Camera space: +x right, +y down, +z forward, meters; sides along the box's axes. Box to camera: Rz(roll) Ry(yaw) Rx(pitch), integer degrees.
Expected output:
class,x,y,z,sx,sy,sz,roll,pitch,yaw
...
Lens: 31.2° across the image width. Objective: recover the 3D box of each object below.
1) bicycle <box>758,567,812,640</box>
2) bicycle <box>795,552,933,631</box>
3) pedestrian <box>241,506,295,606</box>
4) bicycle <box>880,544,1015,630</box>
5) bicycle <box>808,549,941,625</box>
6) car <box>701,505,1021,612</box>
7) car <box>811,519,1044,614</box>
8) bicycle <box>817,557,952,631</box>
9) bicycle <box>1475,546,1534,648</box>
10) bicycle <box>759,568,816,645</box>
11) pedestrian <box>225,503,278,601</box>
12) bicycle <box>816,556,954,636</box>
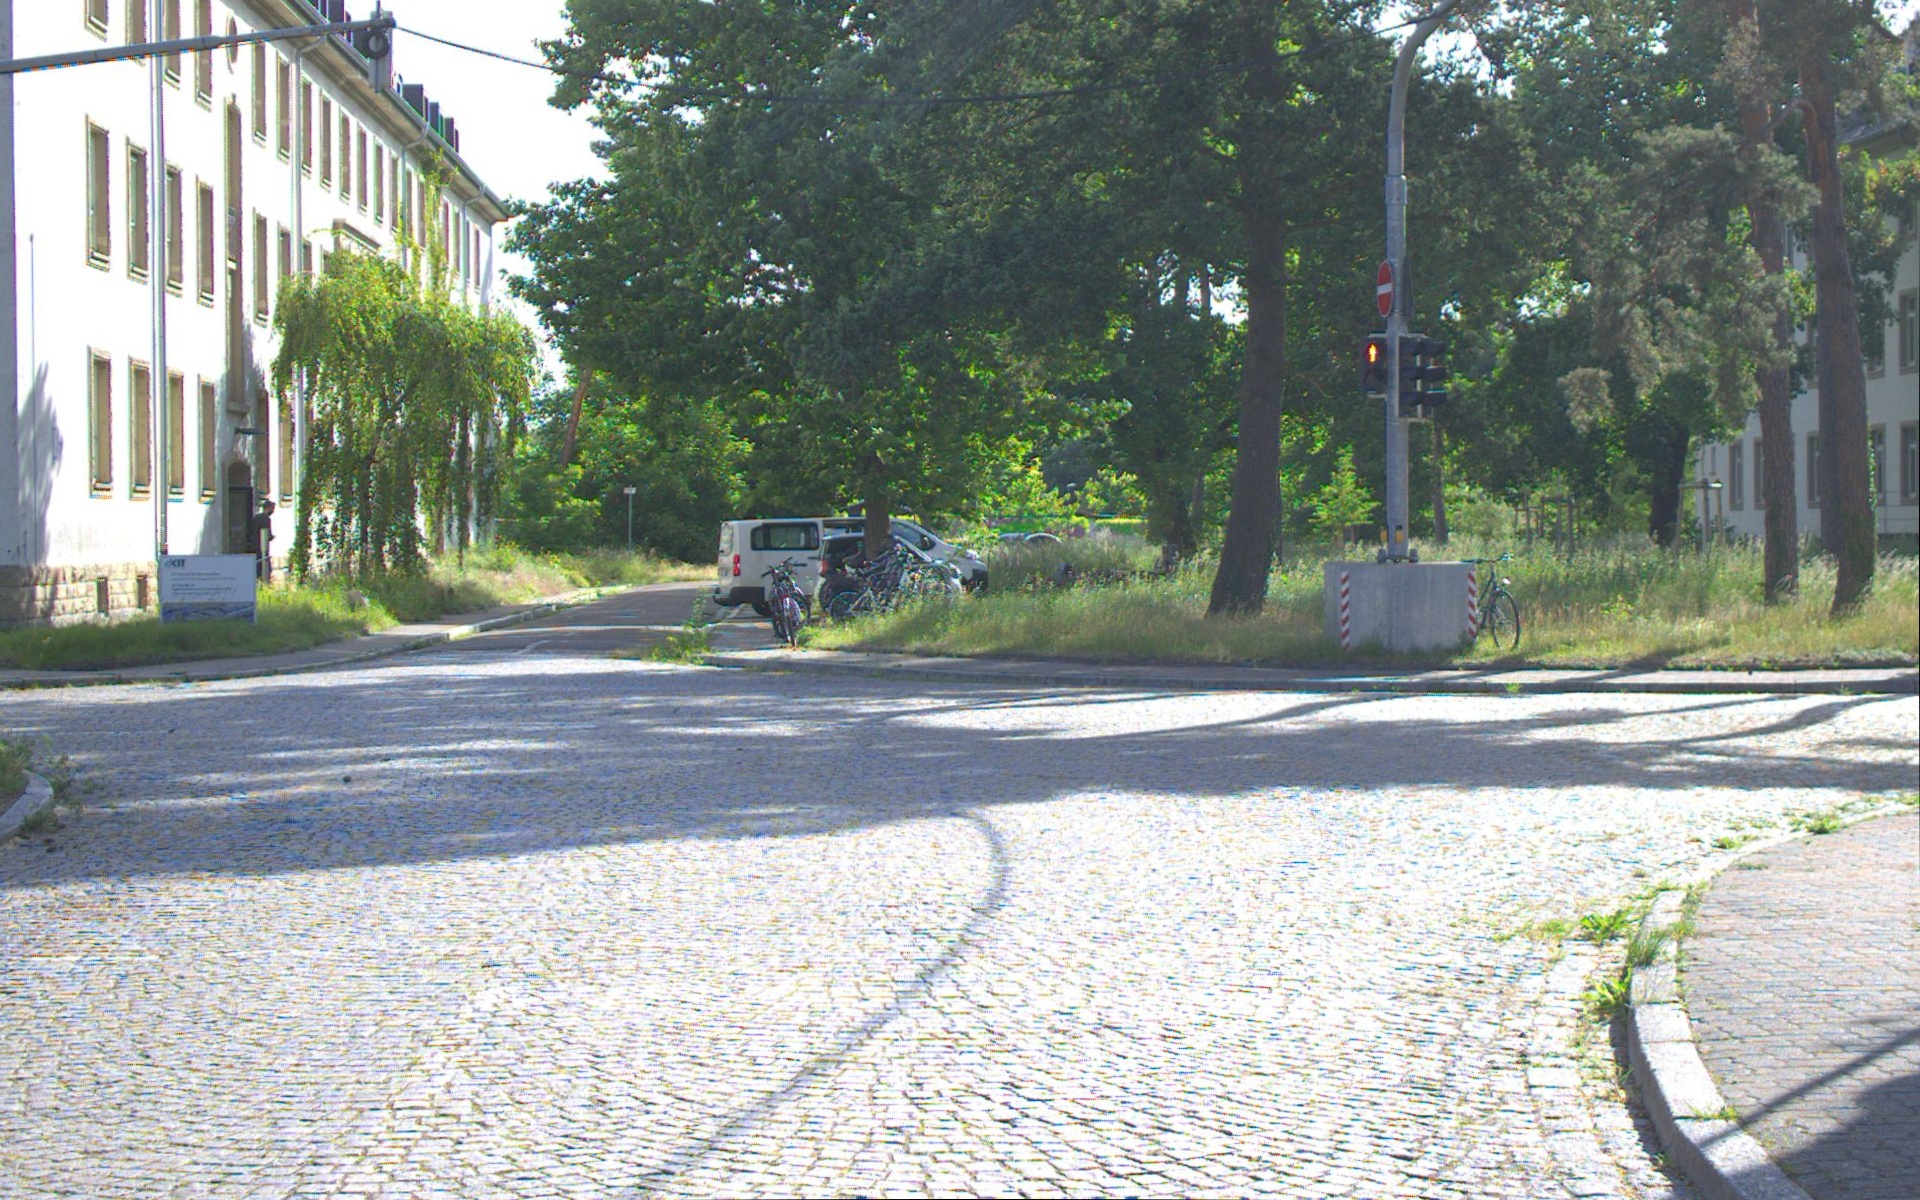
class,x,y,z,sx,sy,sz,roll,pitch,yaw
bicycle,-2.407,0.038,47.049,0.695,0.968,1.861,0,1,-4
bicycle,-1.409,-0.133,50.639,1.940,1.125,0.648,-1,1,-29
pedestrian,-12.713,-0.811,63.177,0.812,1.811,0.555,0,1,9
bicycle,-0.186,-0.193,50.157,1.940,1.231,0.485,0,1,-5
bicycle,-1.288,-0.198,51.732,1.940,1.125,0.648,0,1,-7
car,-1.961,-0.813,66.628,5.929,2.007,2.476,0,1,-9
car,-0.608,-0.618,62.419,3.986,1.678,1.848,0,1,-10
bicycle,-1.074,-0.092,48.632,1.854,1.027,0.750,0,1,-5
bicycle,5.809,-0.039,36.690,0.466,1.076,1.174,0,1,1
bicycle,-2.273,0.078,45.114,0.695,0.968,1.861,0,1,-4
pedestrian,-13.191,-0.899,64.036,0.767,1.811,0.682,0,1,9
bicycle,-1.088,-0.065,49.431,1.940,1.125,0.750,0,1,-5
